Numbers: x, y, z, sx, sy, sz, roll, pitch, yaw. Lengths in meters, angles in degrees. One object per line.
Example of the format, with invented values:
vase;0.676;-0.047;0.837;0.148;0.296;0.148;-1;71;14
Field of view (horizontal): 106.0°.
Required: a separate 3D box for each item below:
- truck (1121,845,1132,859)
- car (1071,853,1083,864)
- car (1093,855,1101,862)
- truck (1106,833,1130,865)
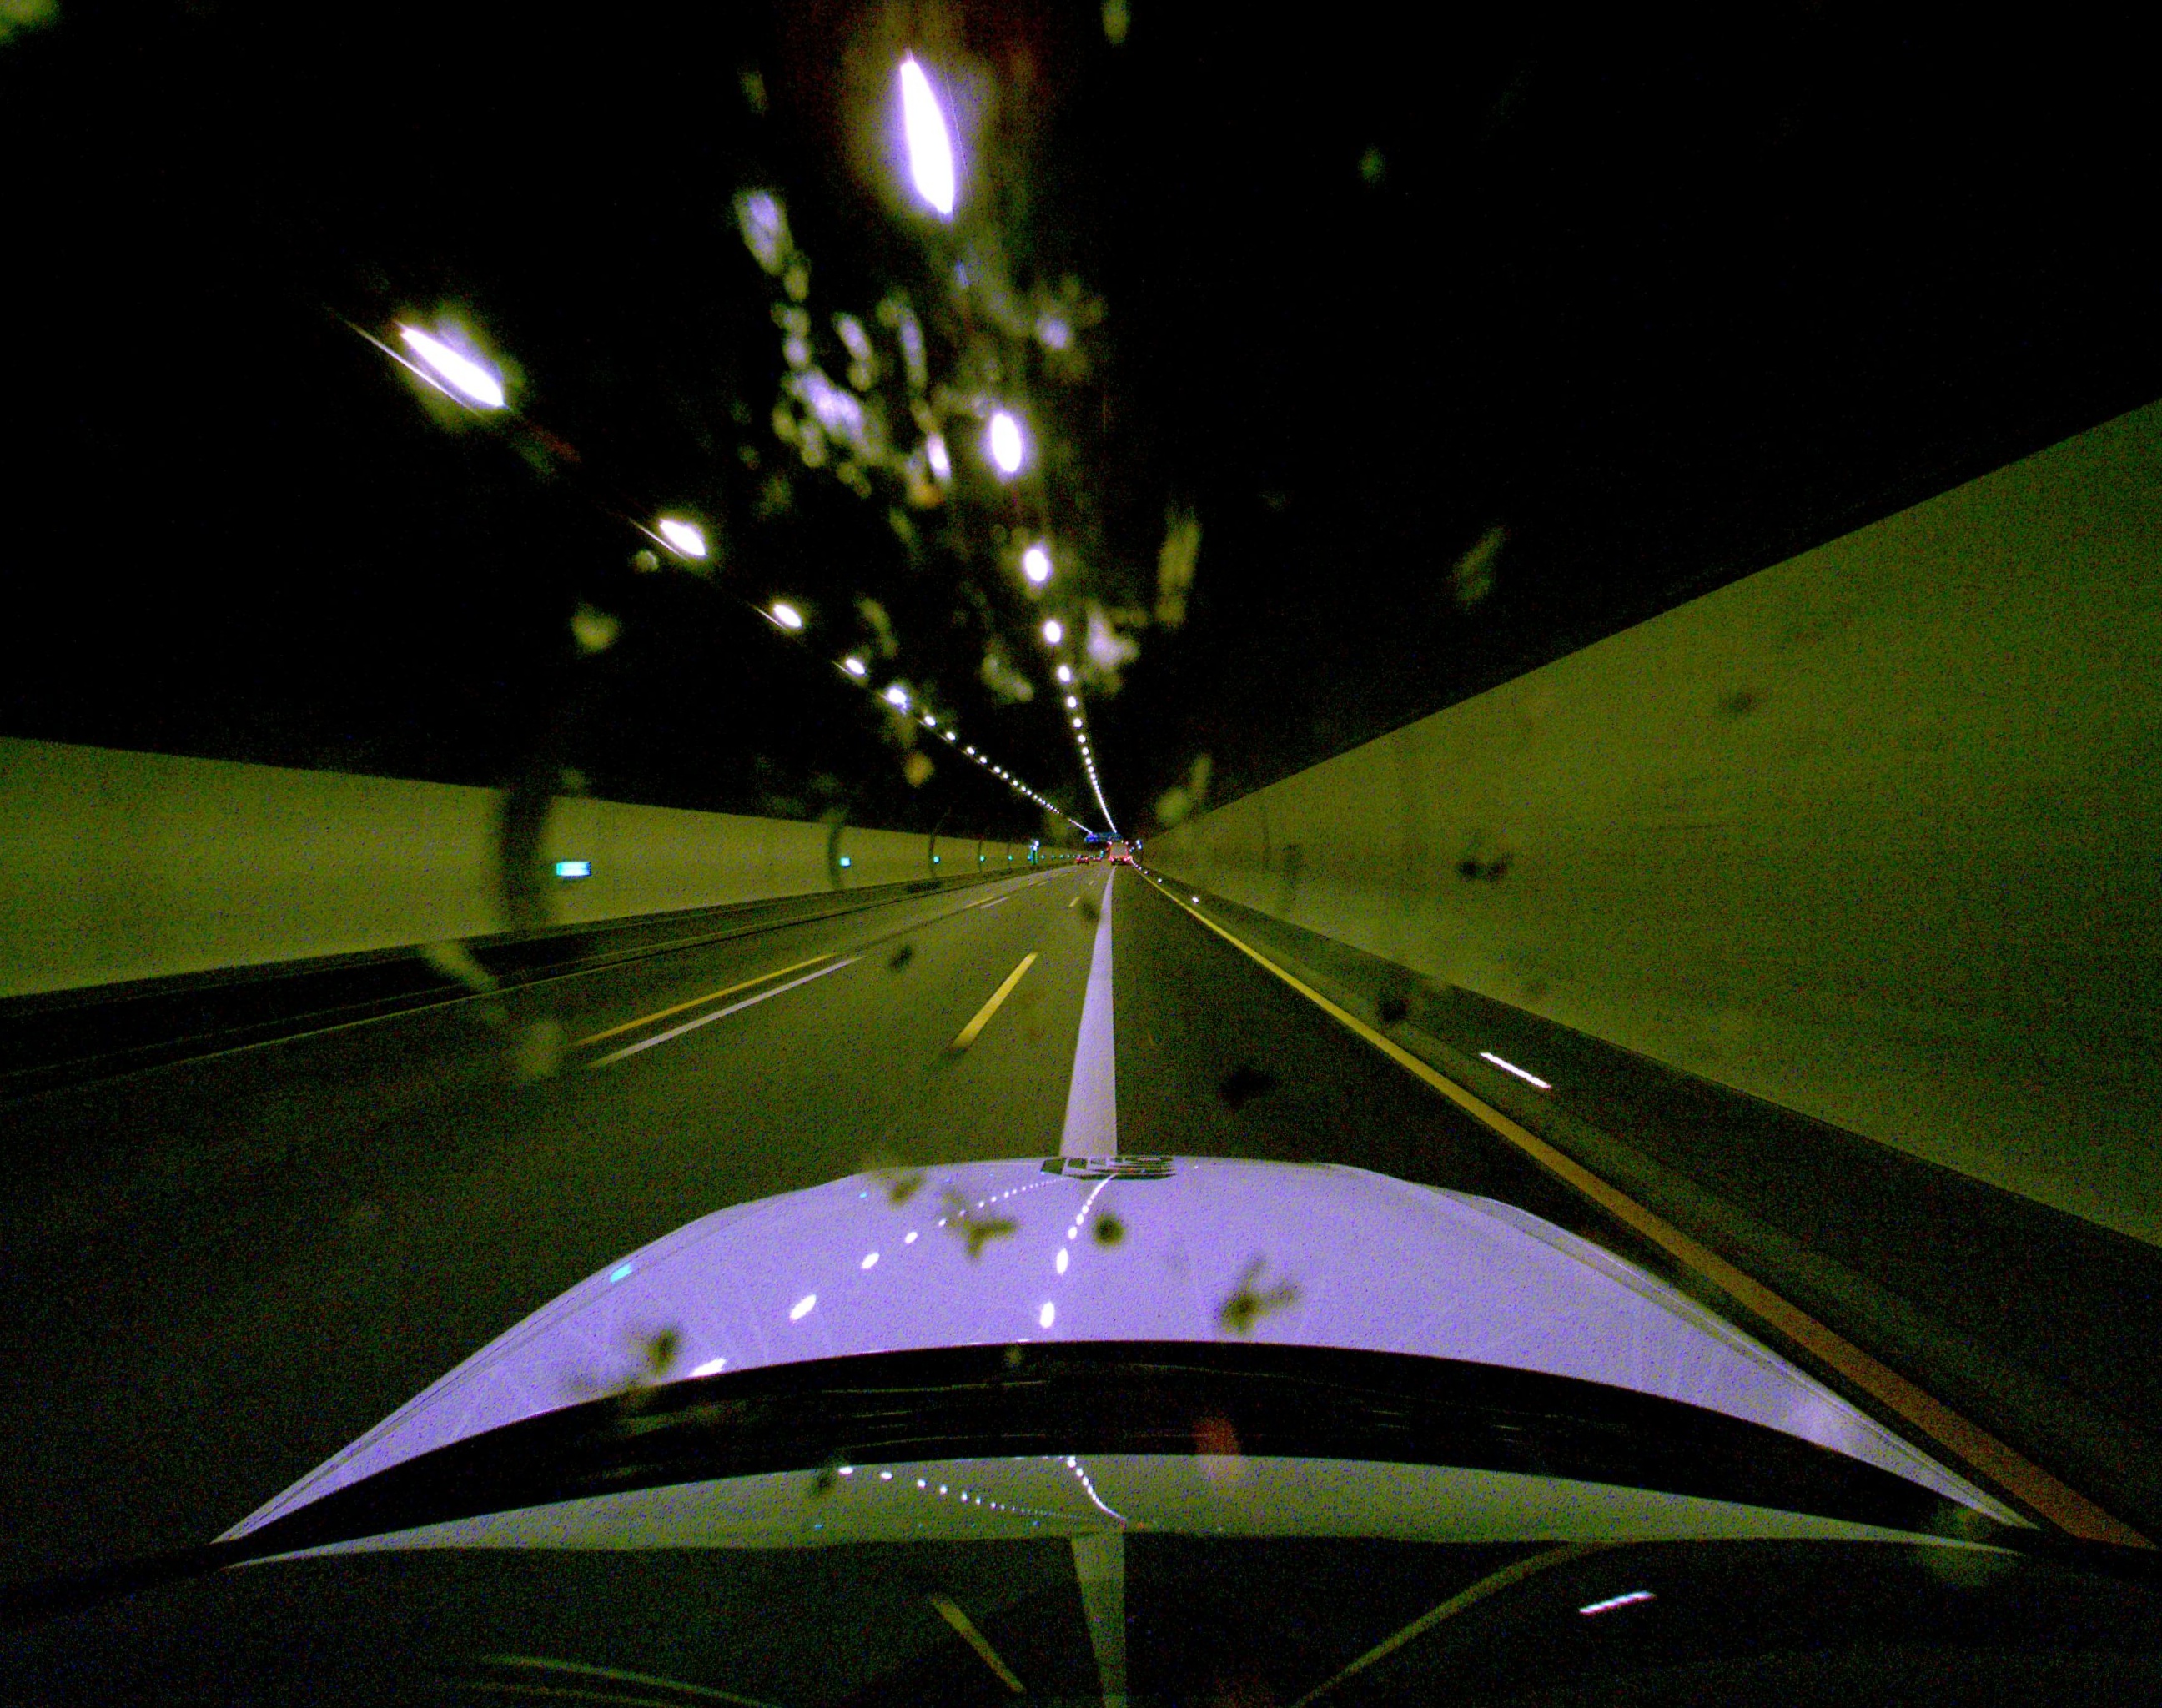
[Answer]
truck;13.920;-0.708;249.228;2.912;4.048;14.034;-2;0;2
car;-0.636;0.708;132.210;1.806;1.618;4.001;-1;0;1
car;3.621;1.018;187.622;1.807;1.520;3.999;-1;1;0
truck;5.925;-0.736;132.100;3.267;4.650;17.289;-2;0;1
